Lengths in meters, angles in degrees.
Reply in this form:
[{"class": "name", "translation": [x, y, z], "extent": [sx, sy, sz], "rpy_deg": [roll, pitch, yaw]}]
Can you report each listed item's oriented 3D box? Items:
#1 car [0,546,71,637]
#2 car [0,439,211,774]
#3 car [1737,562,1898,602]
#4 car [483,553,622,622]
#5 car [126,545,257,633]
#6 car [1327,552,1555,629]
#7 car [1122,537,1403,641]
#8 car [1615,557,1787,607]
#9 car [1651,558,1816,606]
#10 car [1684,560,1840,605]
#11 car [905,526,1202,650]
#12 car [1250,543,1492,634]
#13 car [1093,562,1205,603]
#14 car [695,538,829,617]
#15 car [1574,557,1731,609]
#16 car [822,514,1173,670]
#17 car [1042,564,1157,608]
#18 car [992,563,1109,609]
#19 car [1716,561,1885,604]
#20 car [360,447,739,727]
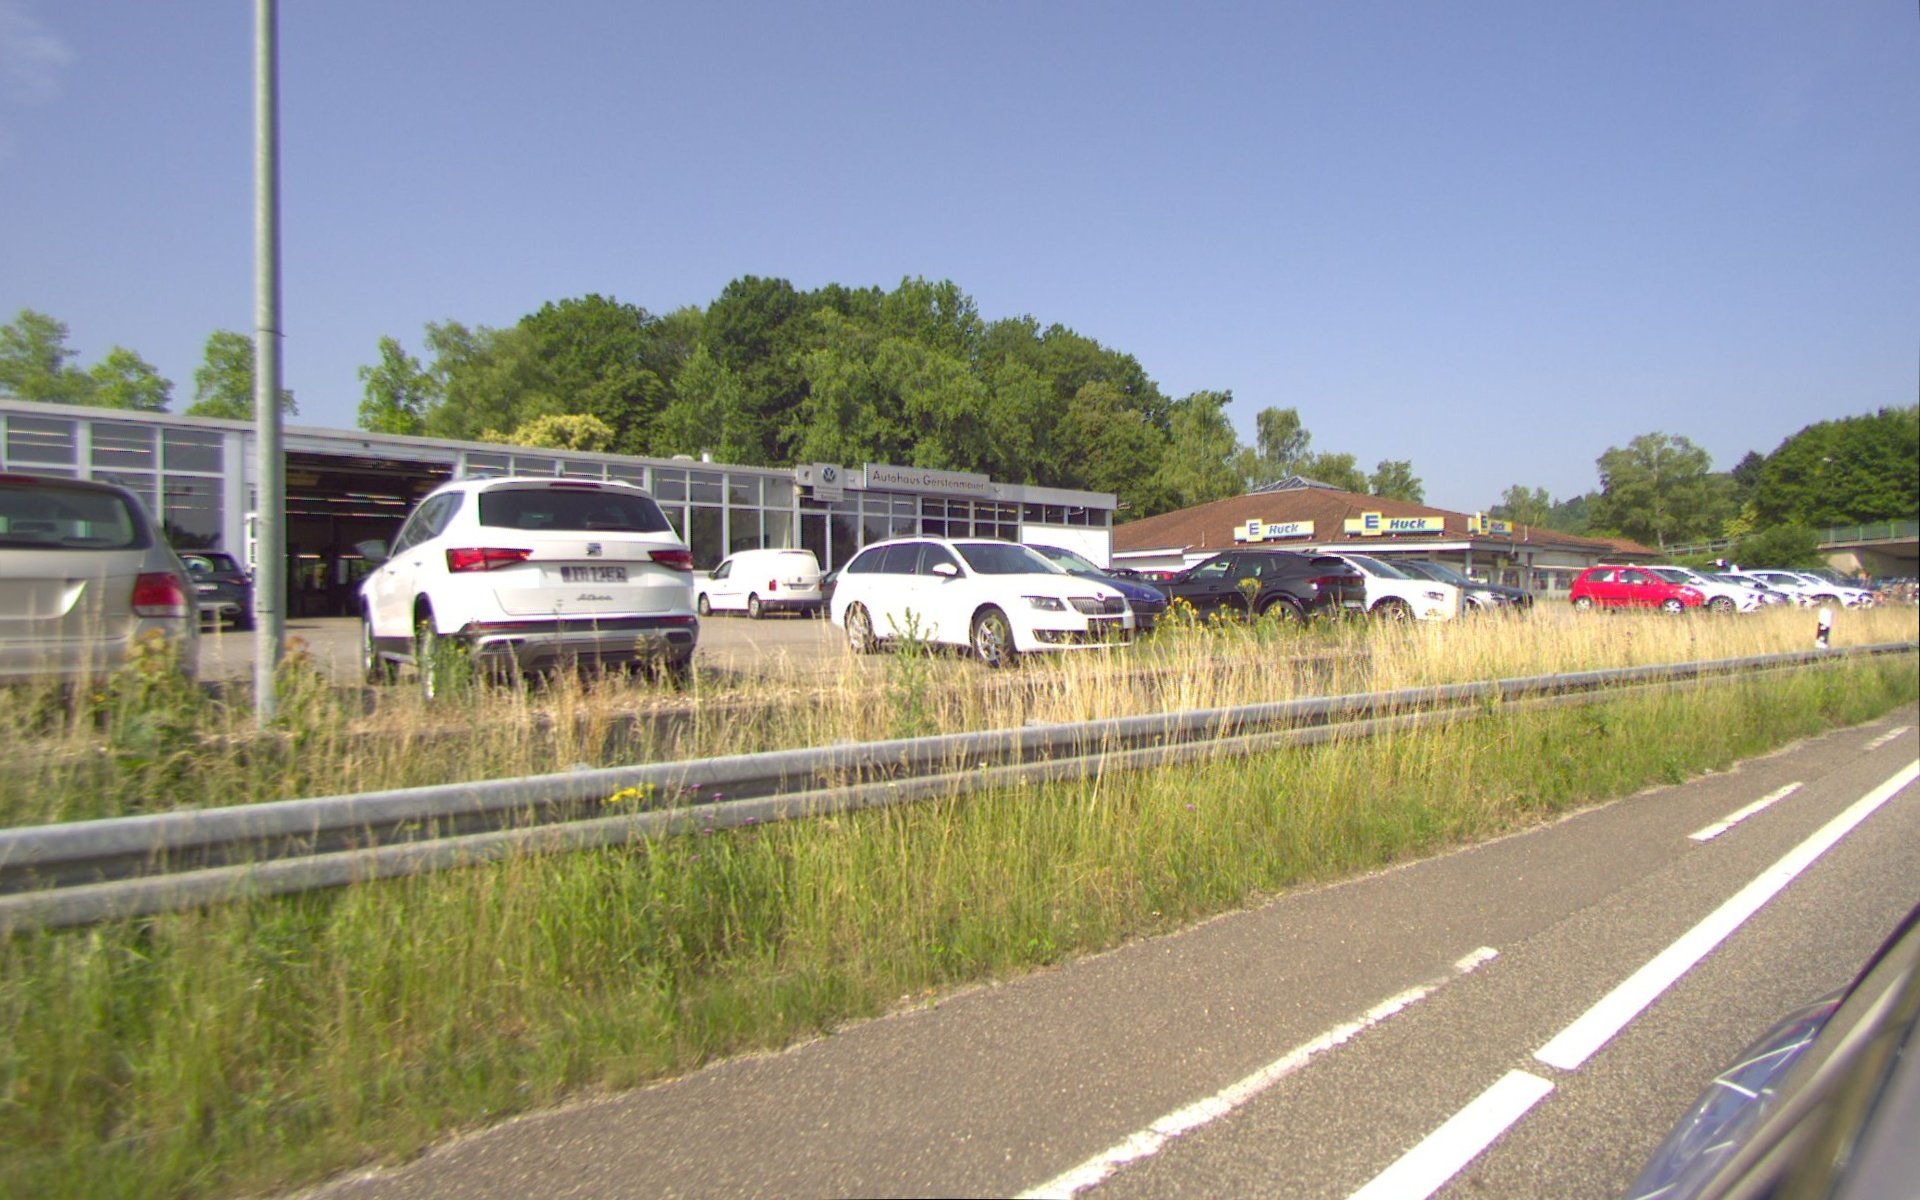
[{"class": "car", "translation": [-17.087, -0.195, 18.094], "extent": [1.760, 1.482, 4.317], "rpy_deg": [-1, 2, -41]}, {"class": "car", "translation": [-5.679, -0.022, 6.169], "extent": [1.773, 1.526, 4.051], "rpy_deg": [0, 2, -37]}, {"class": "car", "translation": [33.831, -0.730, 40.040], "extent": [1.843, 1.482, 4.572], "rpy_deg": [-1, 2, -38]}, {"class": "car", "translation": [-9.777, -0.342, 24.086], "extent": [1.760, 1.482, 4.317], "rpy_deg": [-1, 2, -41]}, {"class": "car", "translation": [-15.141, -0.255, 19.847], "extent": [1.760, 1.544, 4.317], "rpy_deg": [-1, 2, -41]}, {"class": "car", "translation": [10.175, -0.246, 21.642], "extent": [1.843, 1.482, 3.997], "rpy_deg": [-1, 2, -38]}, {"class": "car", "translation": [5.145, -0.234, 17.646], "extent": [1.998, 1.571, 4.290], "rpy_deg": [-1, 2, -42]}, {"class": "car", "translation": [23.141, -0.590, 31.726], "extent": [1.843, 1.482, 3.997], "rpy_deg": [-1, 2, -38]}, {"class": "car", "translation": [25.497, -0.622, 33.472], "extent": [1.843, 1.482, 3.997], "rpy_deg": [-1, 2, -38]}, {"class": "car", "translation": [28.113, -0.642, 35.574], "extent": [1.843, 1.482, 3.997], "rpy_deg": [-1, 2, -38]}, {"class": "car", "translation": [1.200, -0.210, 14.431], "extent": [1.848, 1.513, 4.051], "rpy_deg": [-1, 2, -42]}, {"class": "car", "translation": [7.847, -0.255, 19.630], "extent": [1.773, 1.571, 3.997], "rpy_deg": [0, 2, -38]}, {"class": "car", "translation": [7.125, -0.686, 38.430], "extent": [1.758, 1.482, 3.997], "rpy_deg": [-1, 2, -38]}, {"class": "car", "translation": [-5.448, -0.625, 27.469], "extent": [1.759, 1.948, 4.319], "rpy_deg": [0, 2, -40]}, {"class": "car", "translation": [20.865, -0.534, 30.598], "extent": [1.772, 1.482, 3.547], "rpy_deg": [-1, 2, -38]}, {"class": "car", "translation": [0.239, -0.143, 12.089], "extent": [1.845, 1.513, 4.361], "rpy_deg": [0, 2, -37]}, {"class": "car", "translation": [4.963, -0.538, 36.378], "extent": [1.758, 1.482, 3.997], "rpy_deg": [-1, 2, -38]}, {"class": "car", "translation": [3.053, -0.517, 34.750], "extent": [1.758, 1.482, 3.997], "rpy_deg": [-1, 2, -38]}, {"class": "car", "translation": [31.226, -0.688, 37.738], "extent": [1.843, 1.482, 4.572], "rpy_deg": [-1, 2, -38]}, {"class": "car", "translation": [-3.484, -0.138, 8.089], "extent": [1.845, 1.637, 4.057], "rpy_deg": [0, 2, -37]}]
